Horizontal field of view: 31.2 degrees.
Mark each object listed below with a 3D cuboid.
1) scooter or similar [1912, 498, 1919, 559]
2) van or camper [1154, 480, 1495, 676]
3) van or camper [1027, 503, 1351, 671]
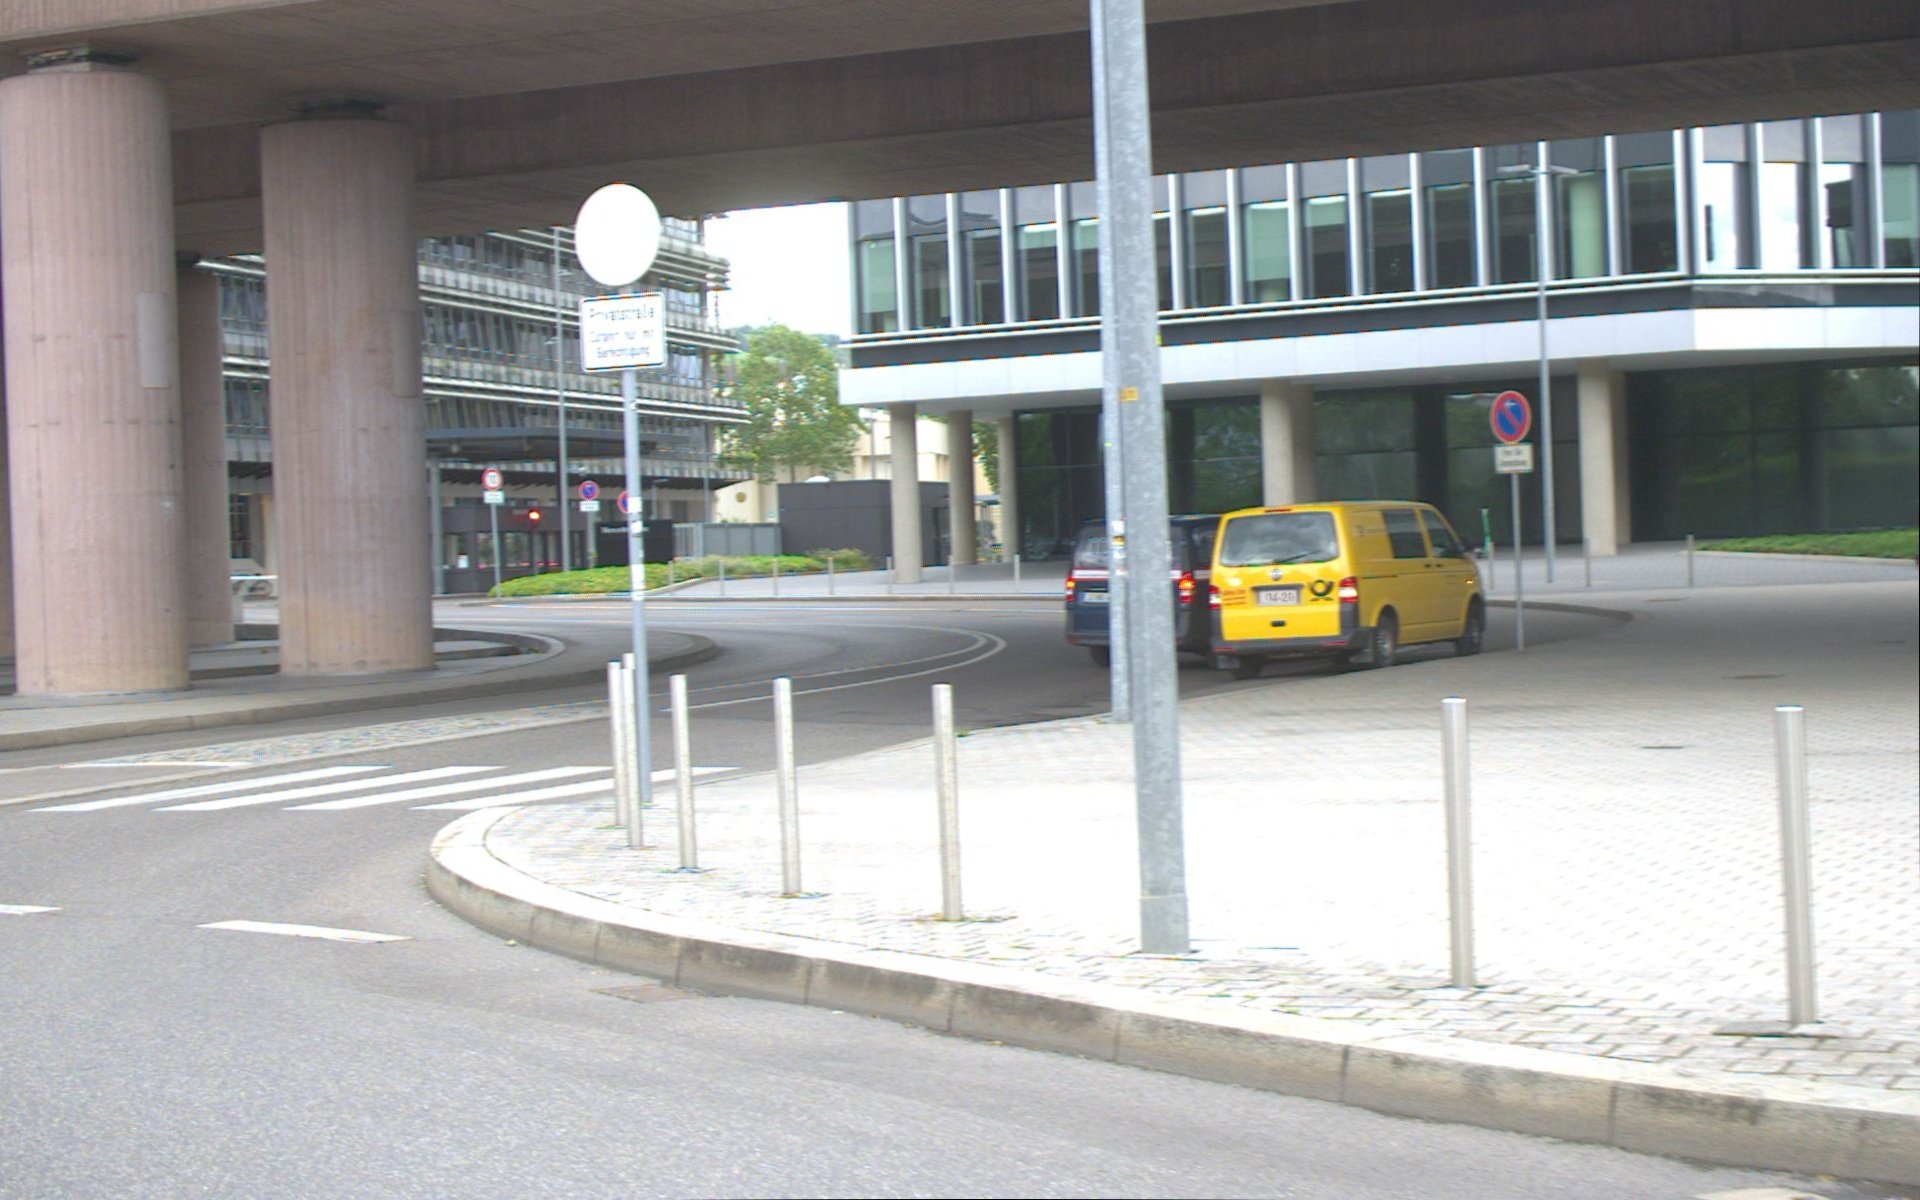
[{"bbox_3d":[17.887,-1.306,62.701,0.698,1.101,1.501,-1,2,3],"label":"scooter or similar"},{"bbox_3d":[4.308,-0.292,39.934,2.358,1.992,4.499,-3,1,28],"label":"van or camper"},{"bbox_3d":[2.958,-0.209,43.284,2.150,1.886,4.894,0,2,29],"label":"van or camper"}]
